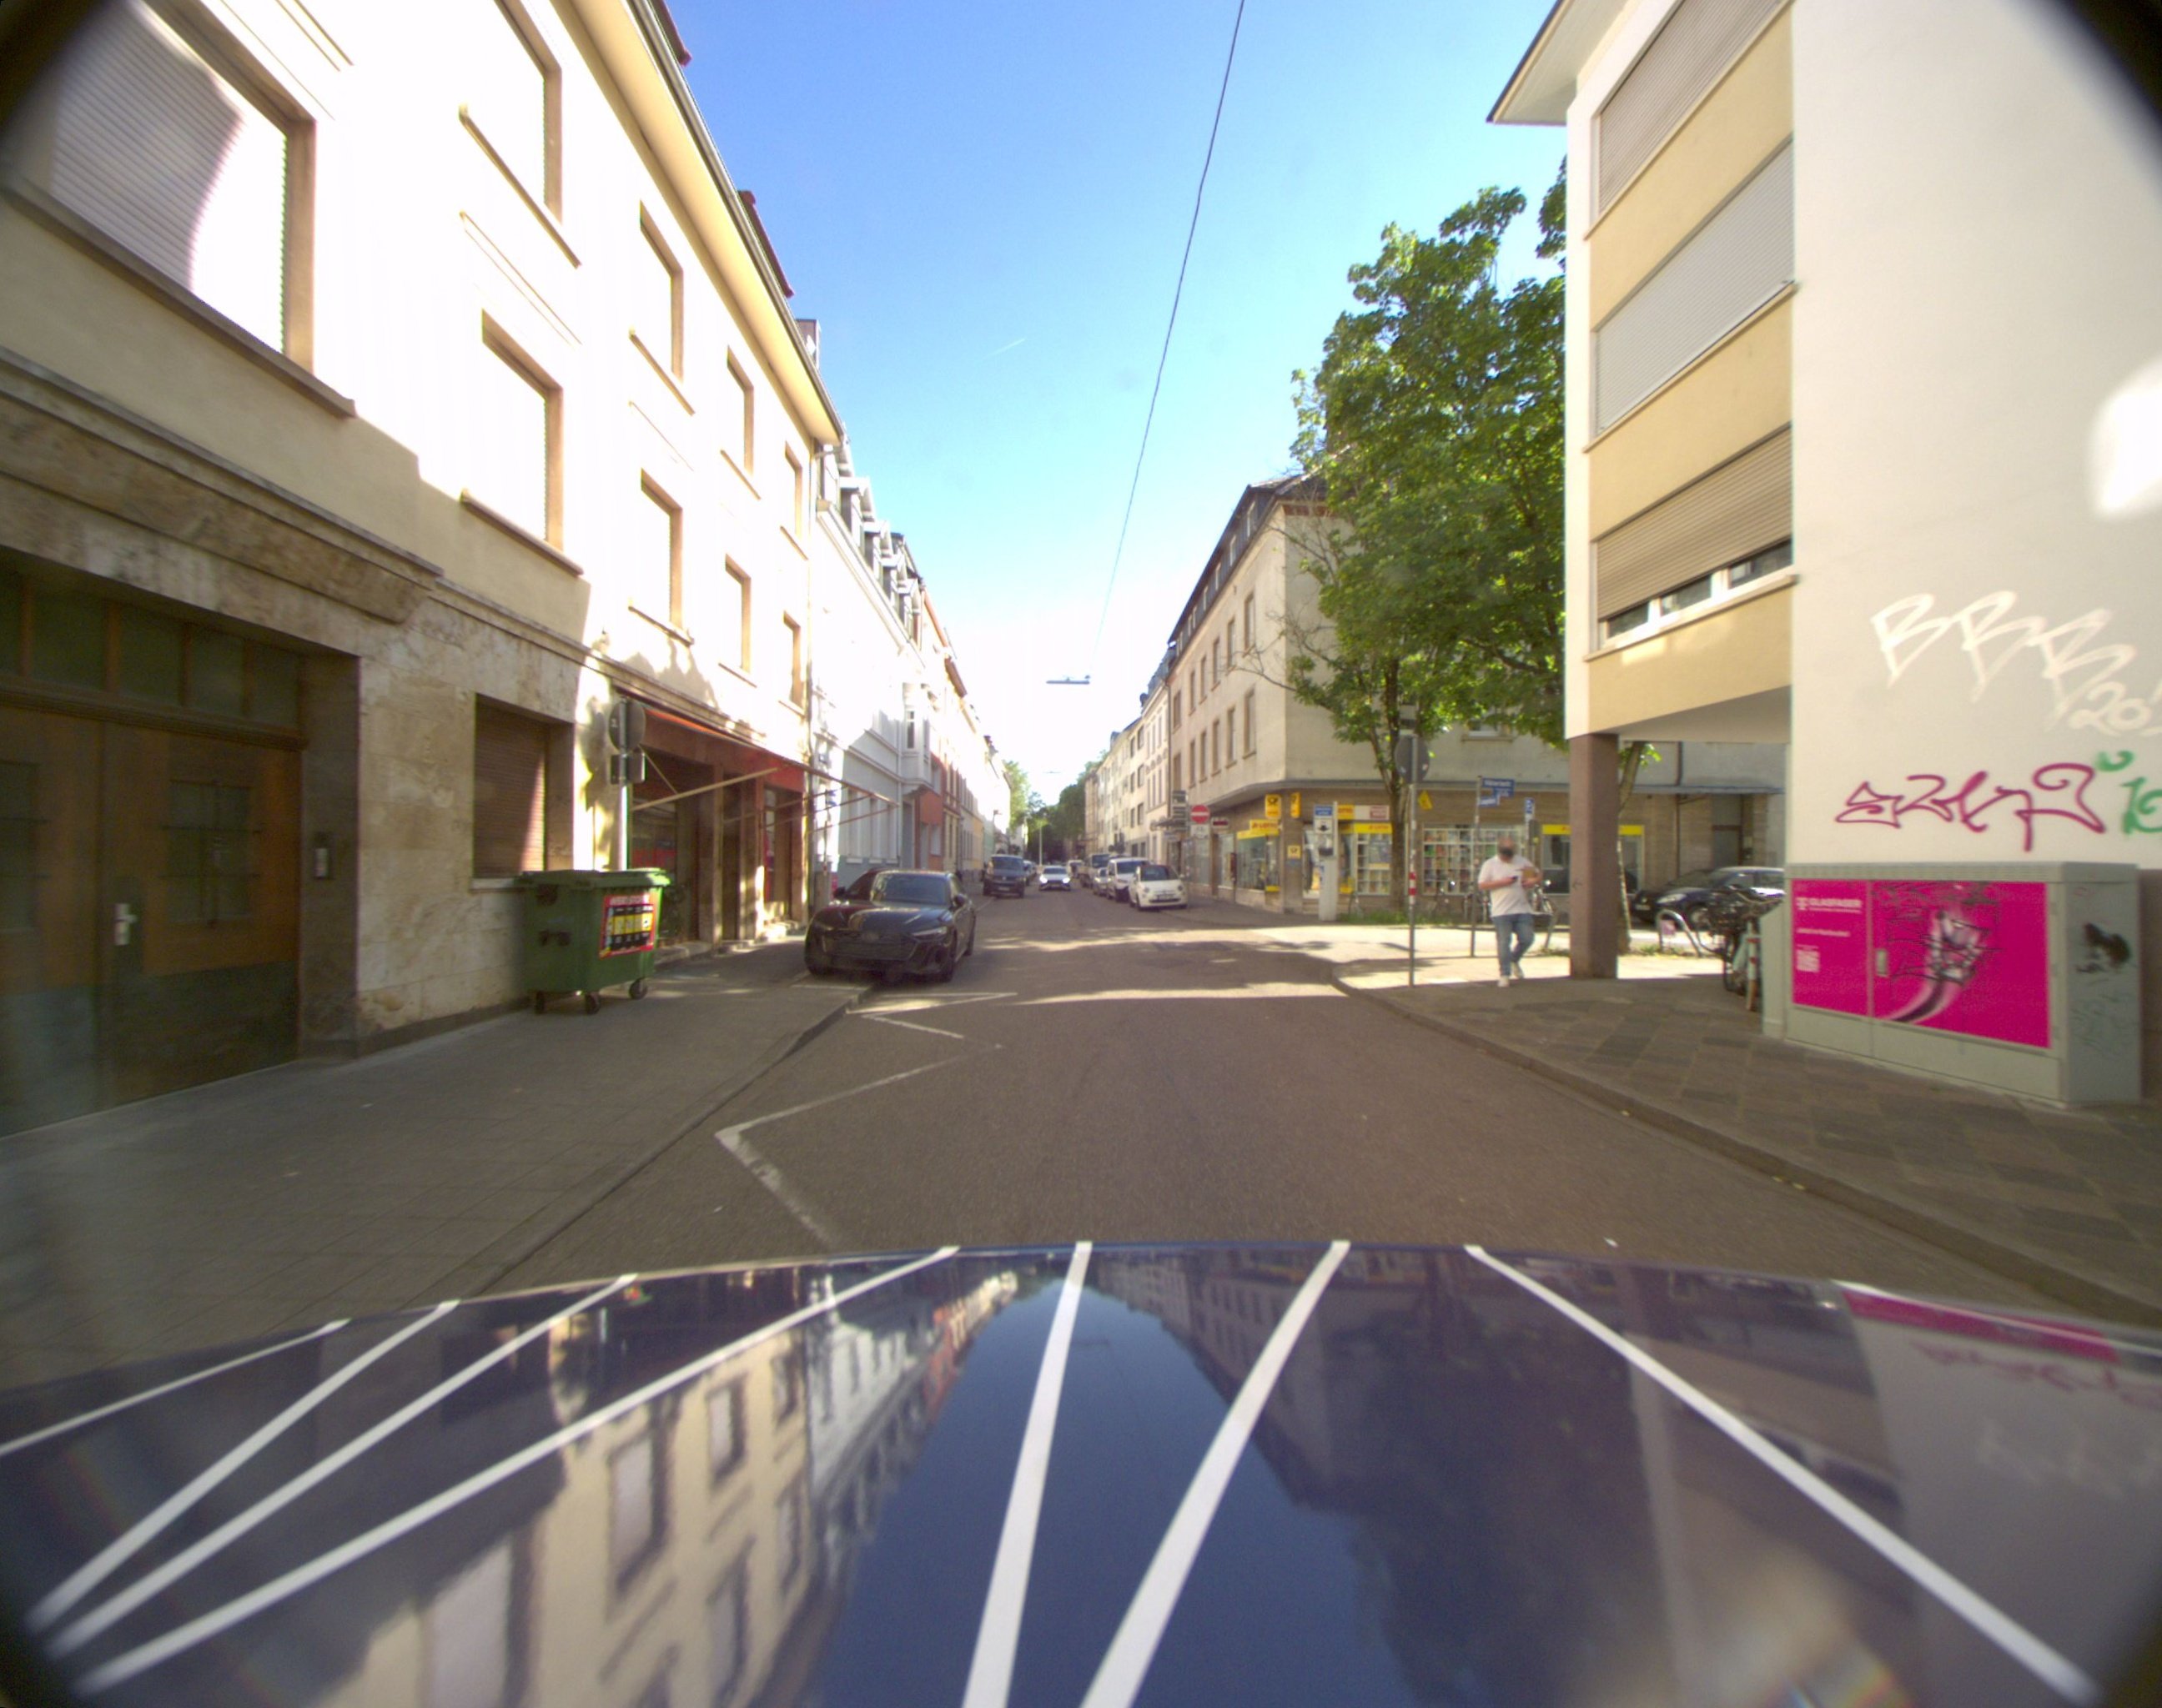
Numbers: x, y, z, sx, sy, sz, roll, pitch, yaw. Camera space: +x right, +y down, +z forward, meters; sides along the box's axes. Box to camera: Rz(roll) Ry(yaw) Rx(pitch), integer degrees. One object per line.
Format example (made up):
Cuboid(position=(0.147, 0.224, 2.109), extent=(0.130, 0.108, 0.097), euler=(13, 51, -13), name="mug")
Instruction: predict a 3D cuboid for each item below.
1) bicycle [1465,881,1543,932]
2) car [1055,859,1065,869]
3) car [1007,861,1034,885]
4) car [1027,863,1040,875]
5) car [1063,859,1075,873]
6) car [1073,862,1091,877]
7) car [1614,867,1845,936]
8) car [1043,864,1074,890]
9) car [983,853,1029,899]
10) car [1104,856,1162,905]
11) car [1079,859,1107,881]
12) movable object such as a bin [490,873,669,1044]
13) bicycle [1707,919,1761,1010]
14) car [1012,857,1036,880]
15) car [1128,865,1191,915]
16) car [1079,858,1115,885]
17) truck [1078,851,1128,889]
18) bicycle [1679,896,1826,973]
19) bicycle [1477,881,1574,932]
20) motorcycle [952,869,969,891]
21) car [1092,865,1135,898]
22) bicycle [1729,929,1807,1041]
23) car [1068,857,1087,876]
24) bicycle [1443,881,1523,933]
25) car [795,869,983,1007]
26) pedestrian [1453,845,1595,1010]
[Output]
Cuboid(position=(10.628, 1.293, 19.215), extent=(0.523, 1.111, 2.403), euler=(0, 0, -3), name="bicycle")
Cuboid(position=(-3.801, 1.840, 136.735), extent=(1.787, 1.674, 4.021), euler=(0, 0, -2), name="car")
Cuboid(position=(-4.300, 1.318, 54.178), extent=(1.745, 1.533, 4.050), euler=(0, 0, -2), name="car")
Cuboid(position=(-6.160, 1.887, 97.861), extent=(1.589, 1.408, 3.556), euler=(0, 0, -2), name="car")
Cuboid(position=(-1.647, 1.655, 107.167), extent=(1.586, 1.970, 4.067), euler=(0, 0, -2), name="car")
Cuboid(position=(0.074, 1.617, 81.023), extent=(1.731, 1.483, 4.114), euler=(-1, 0, -1), name="car")
Cuboid(position=(16.411, 1.177, 19.397), extent=(4.237, 1.578, 1.901), euler=(0, 2, -1), name="car")
Cuboid(position=(-1.375, 1.333, 45.280), extent=(1.761, 1.399, 4.021), euler=(0, 0, -2), name="car")
Cuboid(position=(-3.544, 1.019, 36.526), extent=(1.975, 2.017, 4.898), euler=(-1, 0, -4), name="car")
Cuboid(position=(2.126, 1.080, 32.319), extent=(1.772, 1.887, 4.807), euler=(2, -1, -4), name="car")
Cuboid(position=(1.011, 1.388, 66.007), extent=(1.760, 1.759, 4.176), euler=(2, 0, -7), name="car")
Cuboid(position=(-4.728, 0.926, 7.284), extent=(0.748, 1.428, 1.372), euler=(3, 0, -1), name="movable object such as a bin")
Cuboid(position=(7.682, 1.261, 8.972), extent=(0.403, 0.892, 1.589), euler=(1, -1, 38), name="bicycle")
Cuboid(position=(-5.008, 1.271, 67.266), extent=(1.899, 1.875, 4.456), euler=(0, 0, -2), name="car")
Cuboid(position=(2.616, 1.164, 26.118), extent=(1.672, 1.551, 3.721), euler=(0, 0, -2), name="car")
Cuboid(position=(1.190, 1.296, 57.959), extent=(1.919, 1.871, 5.182), euler=(2, 0, -7), name="car")
Cuboid(position=(1.322, 0.967, 49.665), extent=(2.172, 2.295, 6.343), euler=(2, 0, -8), name="truck")
Cuboid(position=(10.911, 1.270, 12.456), extent=(0.483, 1.094, 2.062), euler=(0, -1, -4), name="bicycle")
Cuboid(position=(11.224, 1.294, 19.304), extent=(0.709, 1.120, 2.427), euler=(0, 1, -10), name="bicycle")
Cuboid(position=(-6.247, 1.331, 39.445), extent=(0.638, 1.038, 2.362), euler=(0, 0, -4), name="motorcycle")
Cuboid(position=(1.593, 1.348, 38.300), extent=(1.669, 1.514, 4.487), euler=(2, -1, -4), name="car")
Cuboid(position=(6.827, 1.254, 7.595), extent=(0.430, 0.877, 1.573), euler=(-2, -1, 37), name="bicycle")
Cuboid(position=(-0.422, 1.386, 87.512), extent=(1.914, 2.076, 4.695), euler=(0, 0, -2), name="car")
Cuboid(position=(9.968, 1.279, 18.971), extent=(0.709, 1.136, 2.307), euler=(0, 0, -2), name="bicycle")
Cuboid(position=(-2.622, 1.055, 11.592), extent=(1.806, 1.569, 4.896), euler=(-1, 0, -3), name="car")
Cuboid(position=(5.216, 0.816, 9.038), extent=(0.913, 1.822, 1.245), euler=(0, 0, -3), name="pedestrian")
